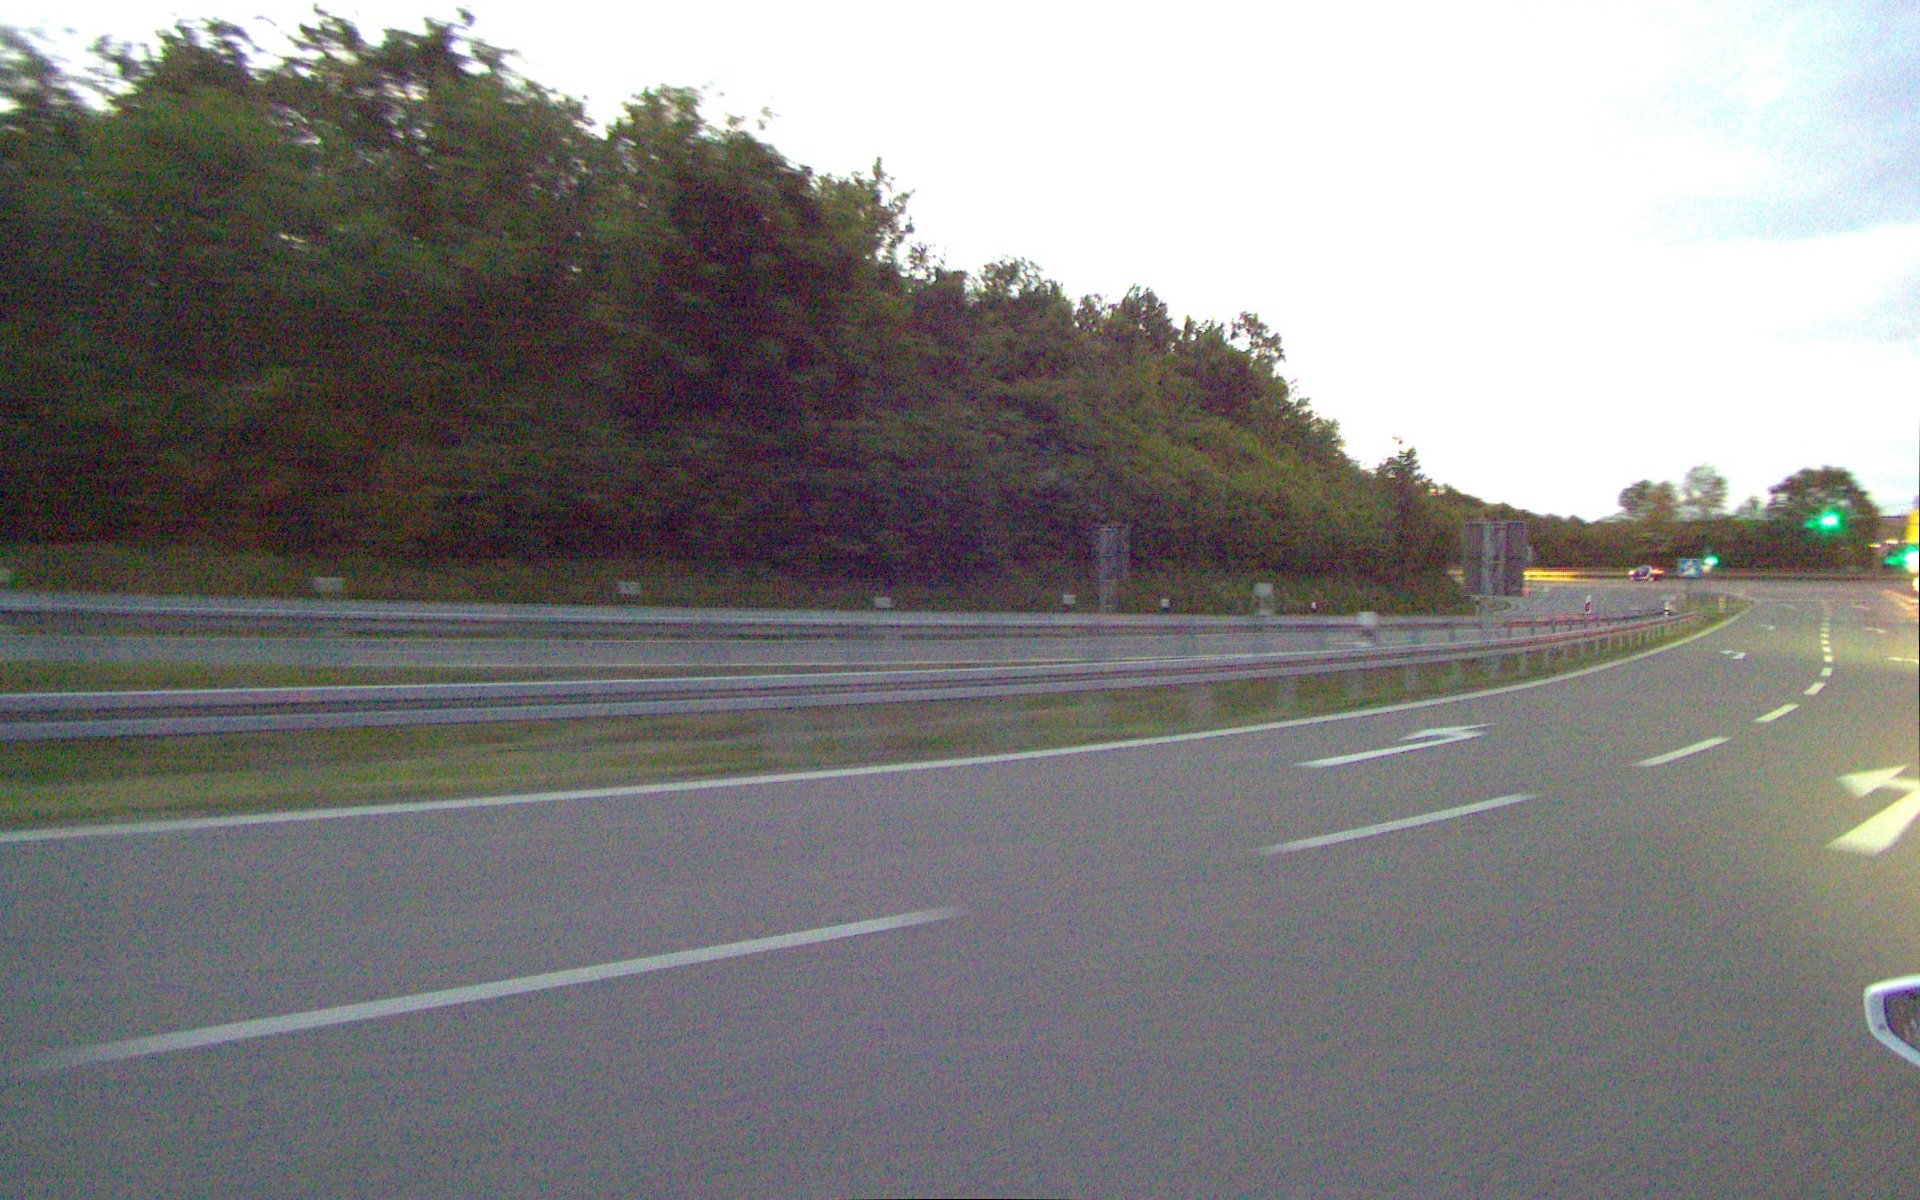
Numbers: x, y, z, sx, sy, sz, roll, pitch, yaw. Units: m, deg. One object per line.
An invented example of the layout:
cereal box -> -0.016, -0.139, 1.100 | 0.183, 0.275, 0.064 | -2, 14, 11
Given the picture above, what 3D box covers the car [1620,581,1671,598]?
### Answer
car -> 68.739, -1.095, 100.740 | 3.926, 1.473, 1.997 | 3, 3, 28
